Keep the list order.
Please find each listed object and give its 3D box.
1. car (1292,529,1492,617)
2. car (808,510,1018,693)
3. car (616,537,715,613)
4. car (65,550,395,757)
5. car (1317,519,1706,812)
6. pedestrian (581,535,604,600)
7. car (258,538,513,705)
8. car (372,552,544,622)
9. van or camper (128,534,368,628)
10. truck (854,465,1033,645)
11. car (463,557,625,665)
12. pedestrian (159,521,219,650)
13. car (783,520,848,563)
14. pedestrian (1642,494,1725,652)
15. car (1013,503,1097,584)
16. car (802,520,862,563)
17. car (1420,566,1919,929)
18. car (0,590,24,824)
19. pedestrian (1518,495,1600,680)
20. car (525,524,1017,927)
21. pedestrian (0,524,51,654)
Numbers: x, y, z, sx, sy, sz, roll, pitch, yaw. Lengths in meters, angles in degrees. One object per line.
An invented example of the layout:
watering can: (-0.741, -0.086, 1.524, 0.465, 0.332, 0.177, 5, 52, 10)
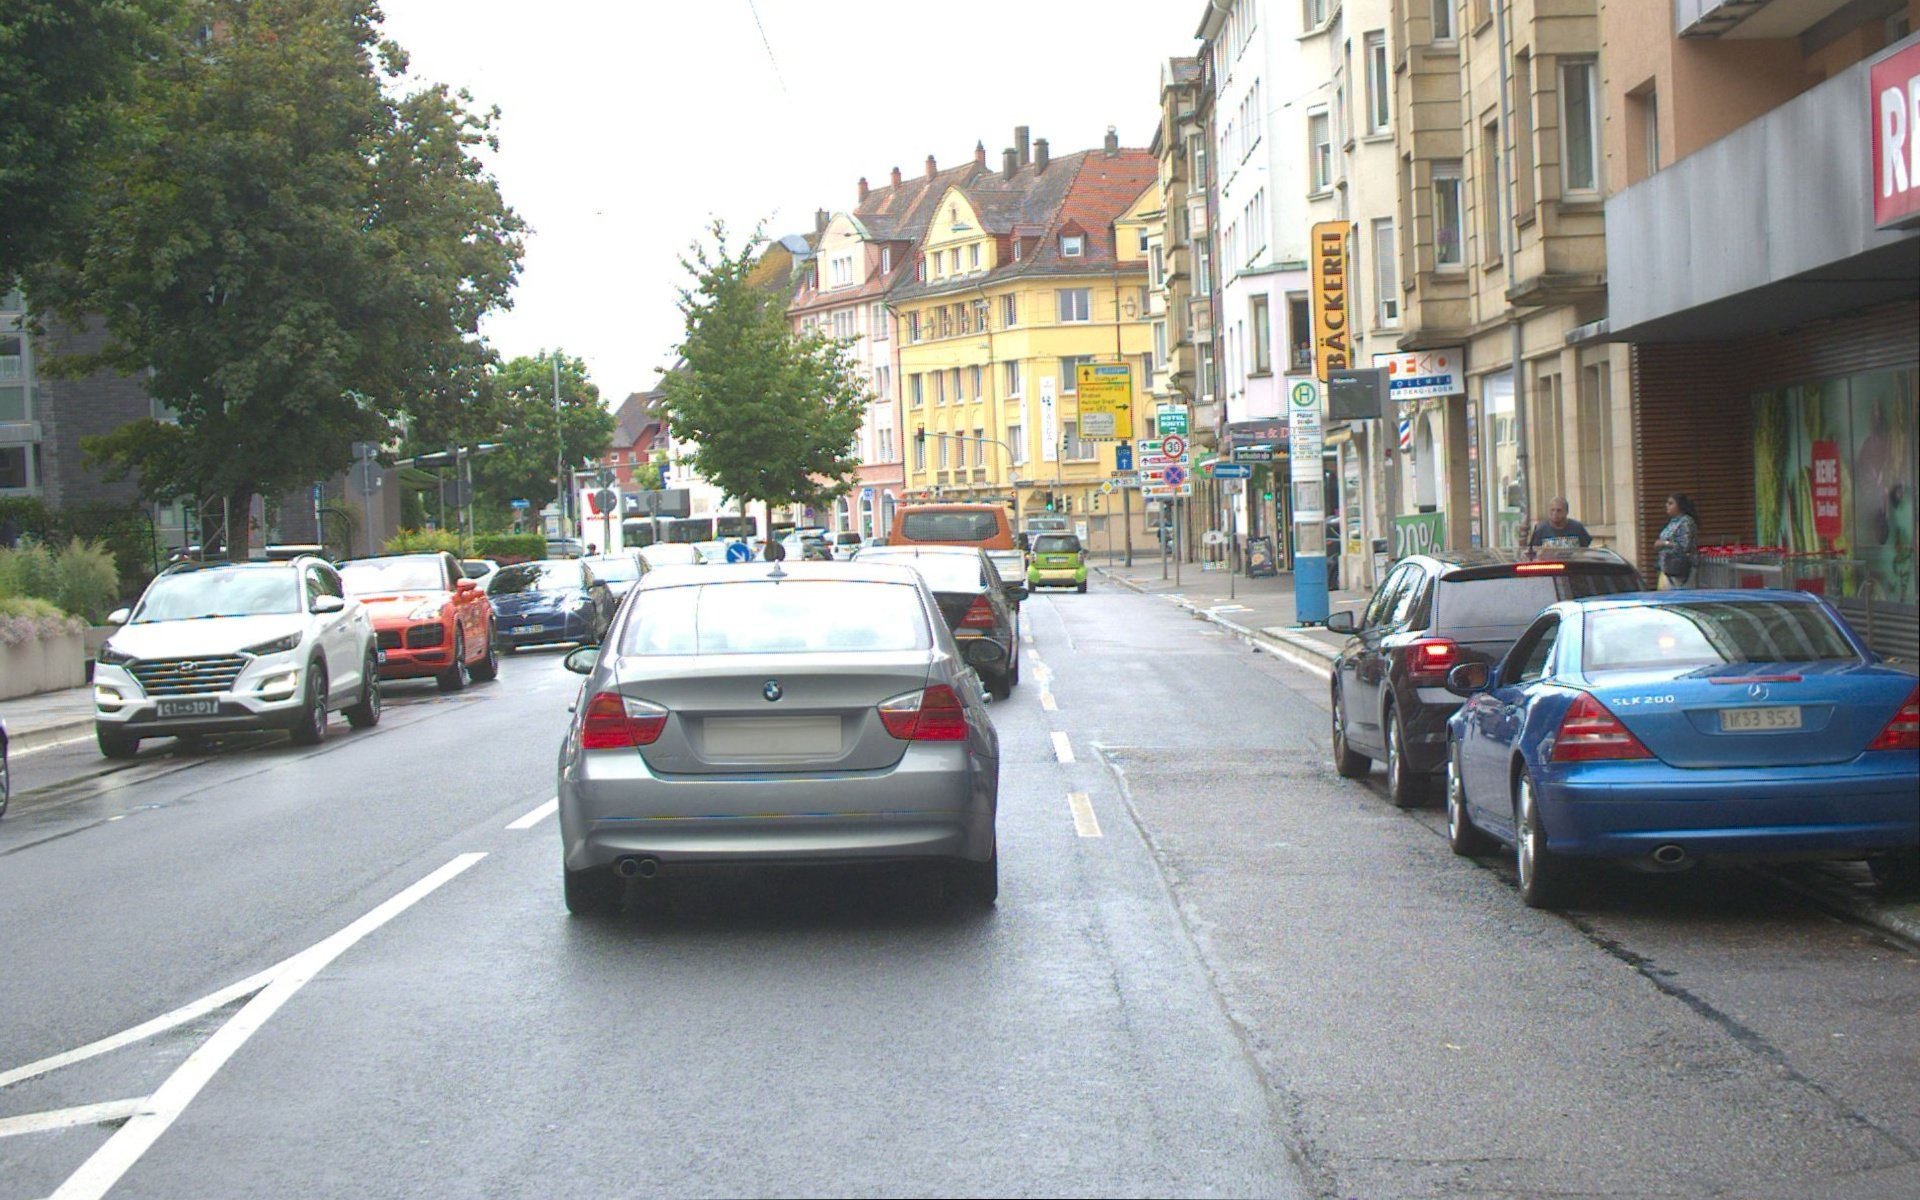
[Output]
car: (9.236, -0.578, 73.349, 4.139, 1.766, 1.873, -1, 1, 9)
car: (-0.433, 0.001, 32.000, 1.799, 1.558, 4.000, -1, 0, -1)
car: (-6.508, -0.576, 76.322, 1.819, 1.563, 4.089, -2, 1, -1)
car: (-6.286, 0.424, 30.067, 1.895, 1.568, 4.125, -4, 0, 0)
car: (3.221, 0.311, 20.775, 1.730, 1.542, 3.982, -1, 2, 1)
pedestrian: (-10.021, -0.889, 93.815, 0.574, 1.756, 0.581, -2, 1, -6)
car: (-6.811, 0.229, 41.337, 2.106, 1.758, 5.060, -3, 0, 0)
car: (-11.818, -0.318, 80.983, 3.577, 1.564, 1.741, -2, 1, -32)
van or camper: (-16.219, -0.452, 78.399, 4.951, 2.007, 2.000, -2, 1, -29)
truck: (-0.207, -0.615, 46.048, 2.224, 2.242, 5.063, -1, 1, 0)
car: (-6.647, 0.143, 55.425, 1.955, 1.506, 4.913, -3, 1, 0)
pedestrian: (-11.014, -0.215, 49.104, 0.721, 1.819, 0.722, -1, 2, -18)
car: (-7.054, -2.826, 167.549, 1.993, 2.007, 4.001, -2, 1, -20)
pedestrian: (7.306, -0.279, 34.717, 0.561, 1.567, 0.627, -2, 1, -16)
car: (2.426, -1.458, 88.637, 1.993, 2.007, 4.000, -2, 1, 0)
car: (-6.763, -3.077, 181.183, 1.761, 2.173, 4.001, 1, 1, -25)
car: (3.135, 0.553, 15.148, 1.734, 1.305, 3.767, -1, 1, 1)
car: (-6.876, 0.738, 20.293, 1.615, 1.459, 3.807, -1, 2, 0)
pedestrian: (5.511, -0.121, 31.635, 0.625, 1.646, 0.749, -1, 3, 3)
car: (-0.728, 0.455, 14.983, 1.799, 1.459, 4.371, -1, 0, -1)
pedestrian: (-13.434, -0.166, 49.093, 0.721, 1.819, 0.855, -2, 2, -22)
